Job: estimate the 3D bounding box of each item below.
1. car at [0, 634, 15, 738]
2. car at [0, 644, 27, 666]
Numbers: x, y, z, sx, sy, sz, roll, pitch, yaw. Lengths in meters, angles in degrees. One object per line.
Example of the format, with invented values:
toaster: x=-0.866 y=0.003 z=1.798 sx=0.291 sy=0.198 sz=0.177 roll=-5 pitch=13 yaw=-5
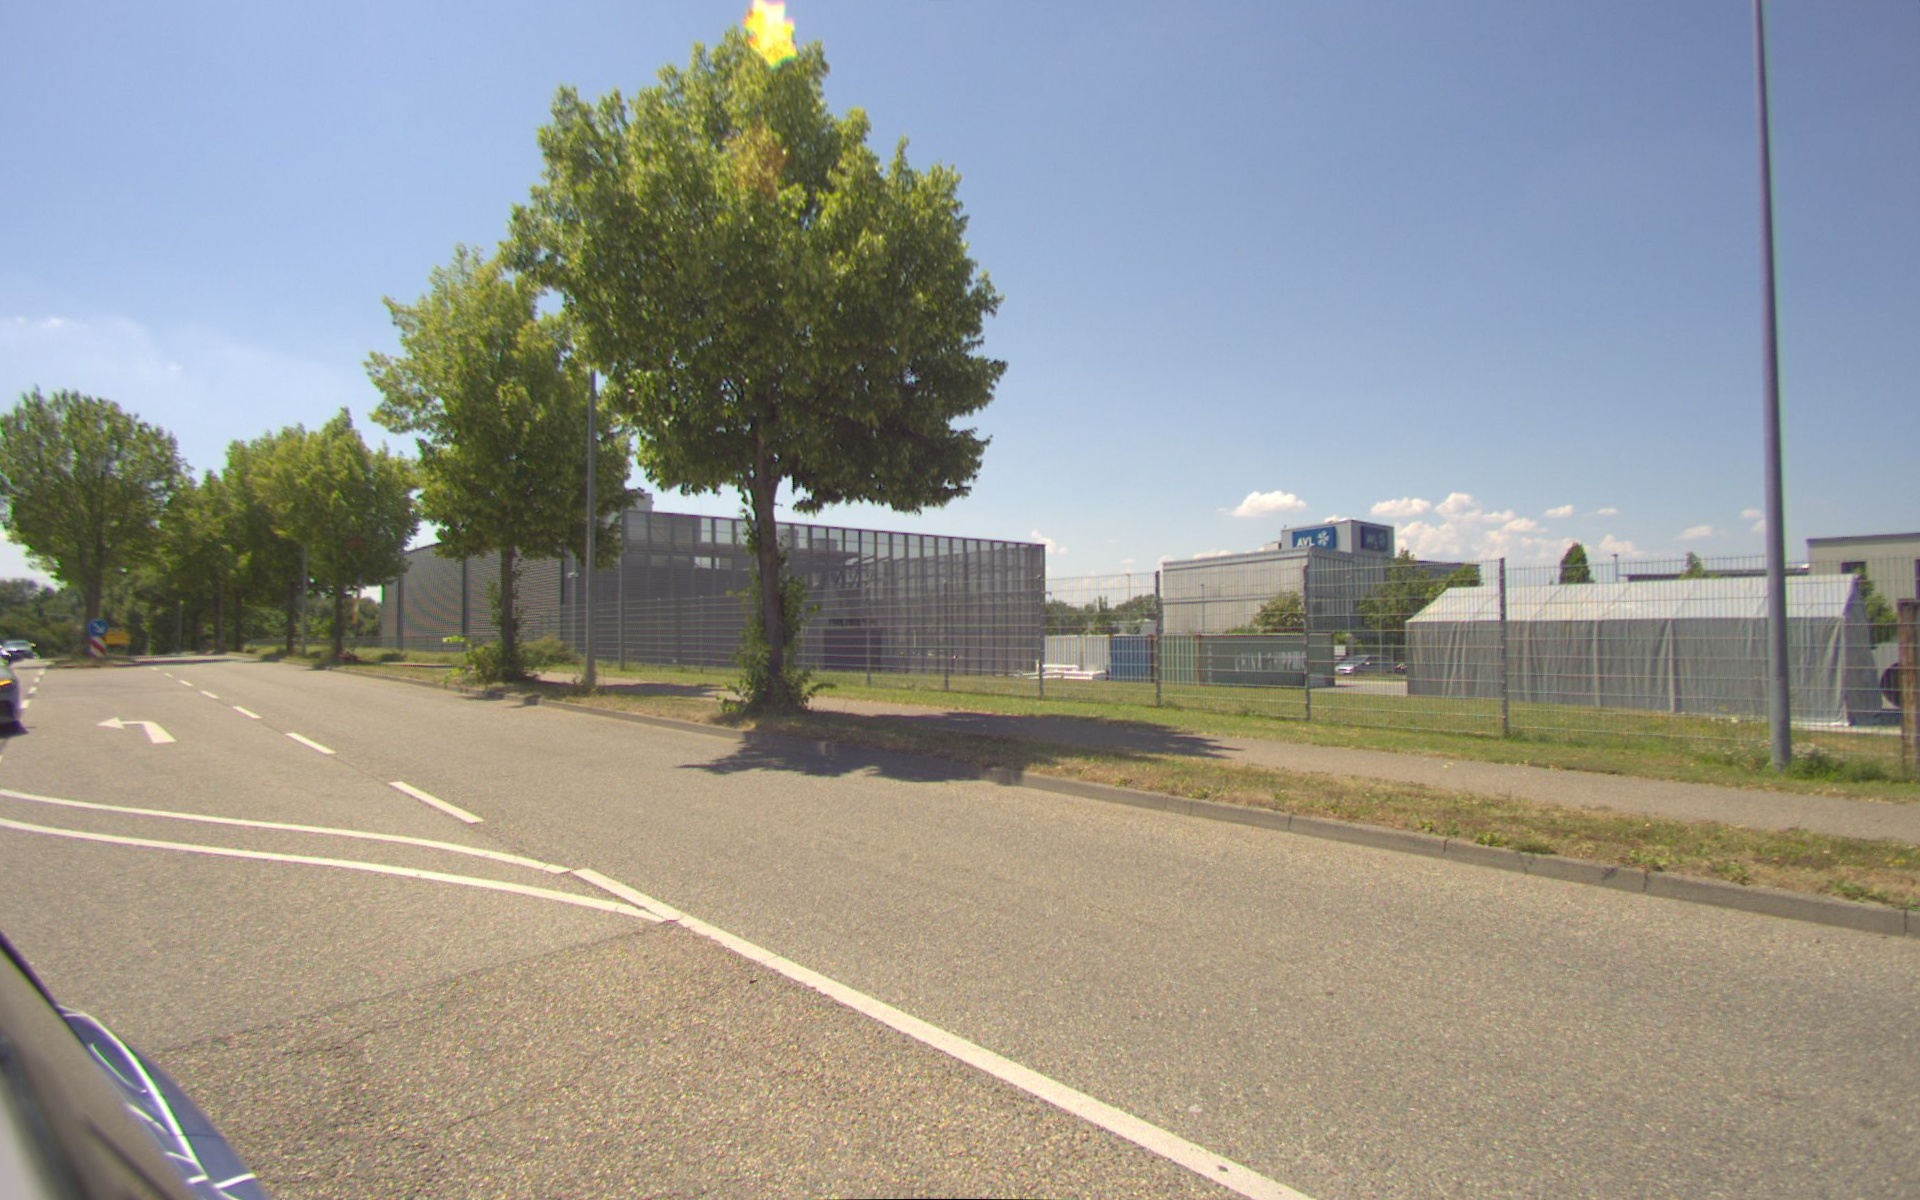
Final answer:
car: x=-15.108 y=1.238 z=14.763 sx=1.870 sy=1.394 sz=4.637 roll=1 pitch=-2 yaw=-44
car: x=-68.543 y=3.946 z=73.031 sx=1.648 sy=1.385 sz=4.503 roll=-2 pitch=0 yaw=-41
